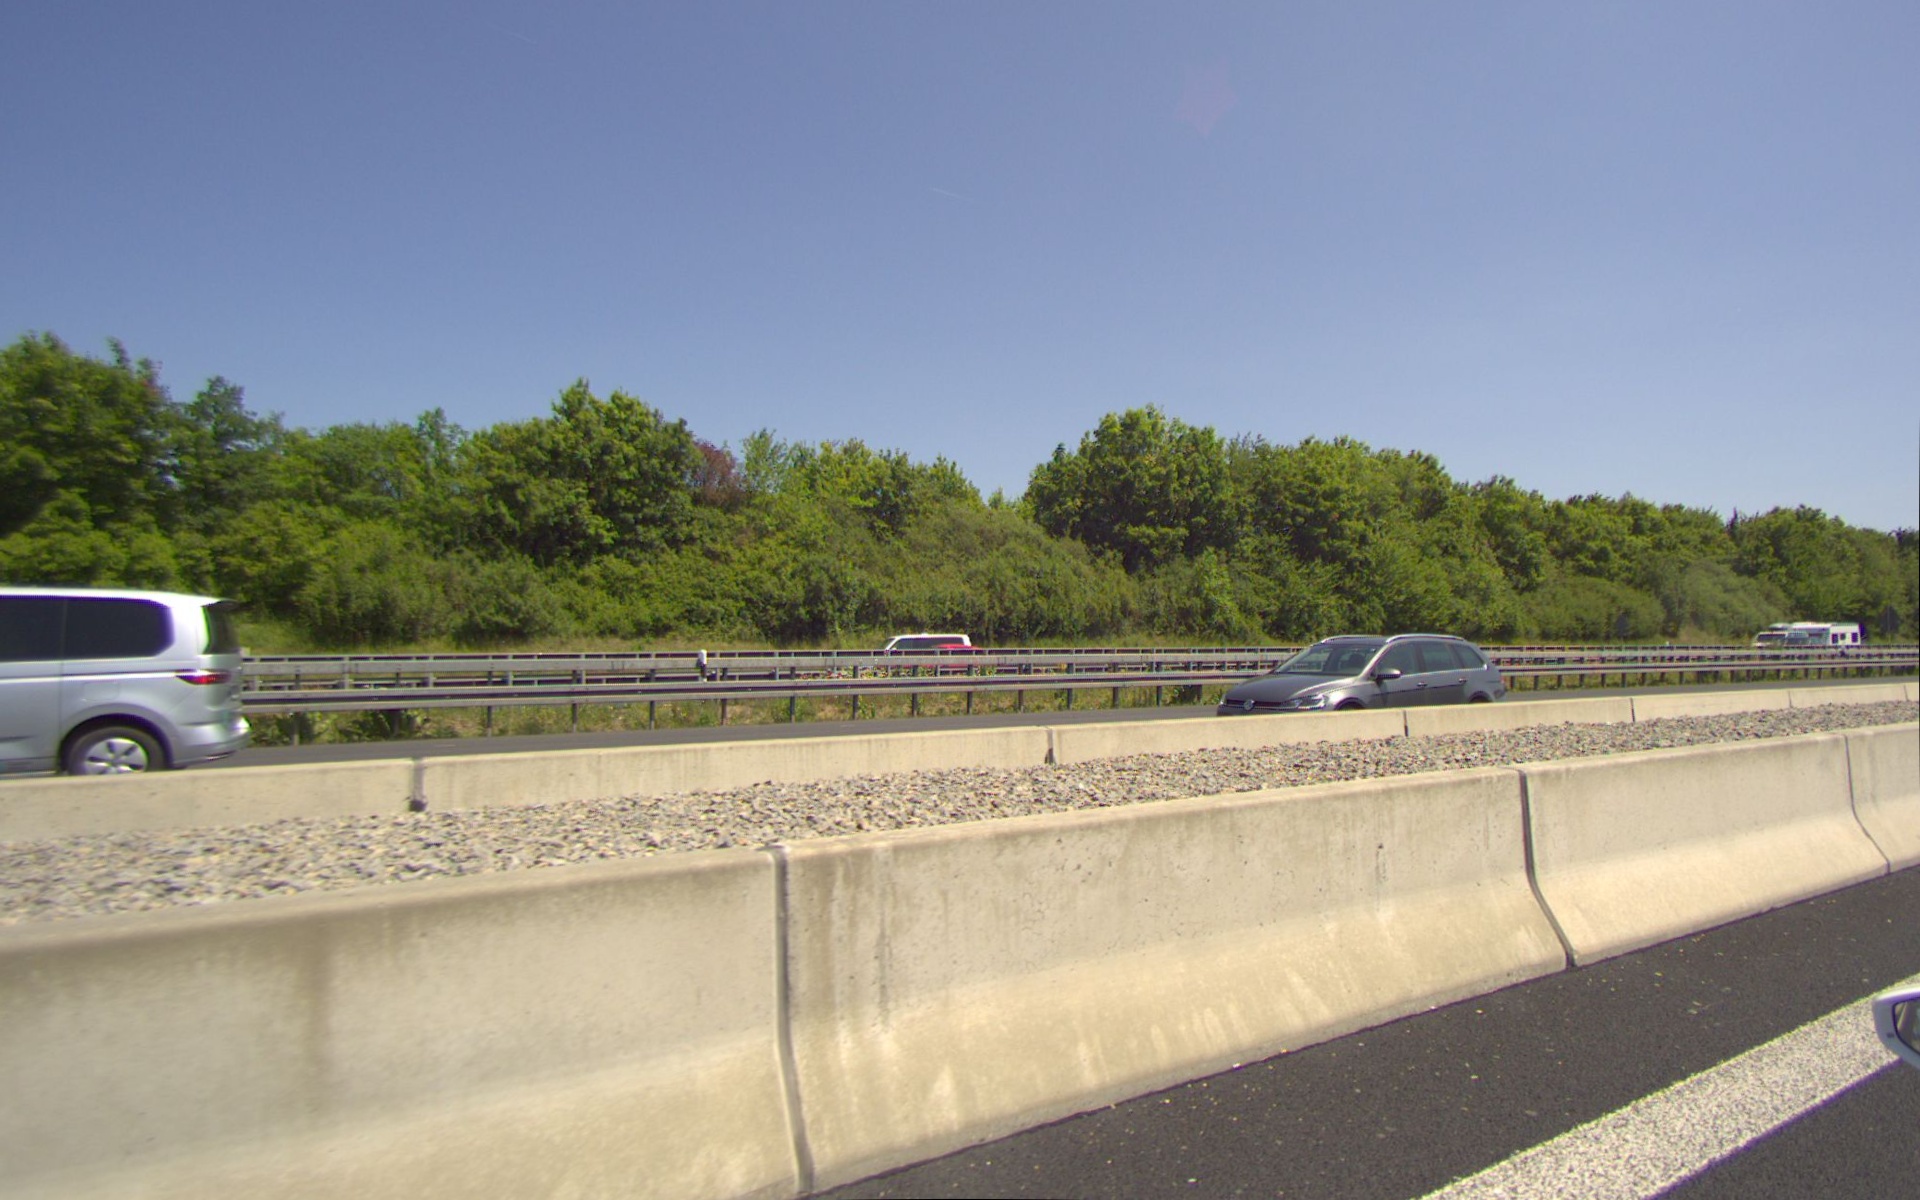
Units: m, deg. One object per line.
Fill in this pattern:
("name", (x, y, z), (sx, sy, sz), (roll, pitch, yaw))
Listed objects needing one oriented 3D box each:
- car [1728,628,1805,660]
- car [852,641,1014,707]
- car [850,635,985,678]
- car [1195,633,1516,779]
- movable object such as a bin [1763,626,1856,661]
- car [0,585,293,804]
("car", (48.590, 2.648, 60.507), (4.758, 1.829, 1.985), (2, -3, -29))
("car", (-0.738, 1.988, 27.442), (3.952, 1.598, 1.985), (2, 0, -29))
("car", (-1.642, 2.178, 39.252), (4.923, 1.598, 1.989), (1, -3, -24))
("car", (5.277, 1.260, 13.243), (4.260, 1.617, 1.785), (1, -1, -32))
("movable object such as a bin", (53.593, 2.743, 63.352), (6.704, 2.040, 2.494), (2, 0, -32))
("car", (-9.191, 0.840, 9.138), (5.024, 1.866, 1.985), (1, -3, -30))
